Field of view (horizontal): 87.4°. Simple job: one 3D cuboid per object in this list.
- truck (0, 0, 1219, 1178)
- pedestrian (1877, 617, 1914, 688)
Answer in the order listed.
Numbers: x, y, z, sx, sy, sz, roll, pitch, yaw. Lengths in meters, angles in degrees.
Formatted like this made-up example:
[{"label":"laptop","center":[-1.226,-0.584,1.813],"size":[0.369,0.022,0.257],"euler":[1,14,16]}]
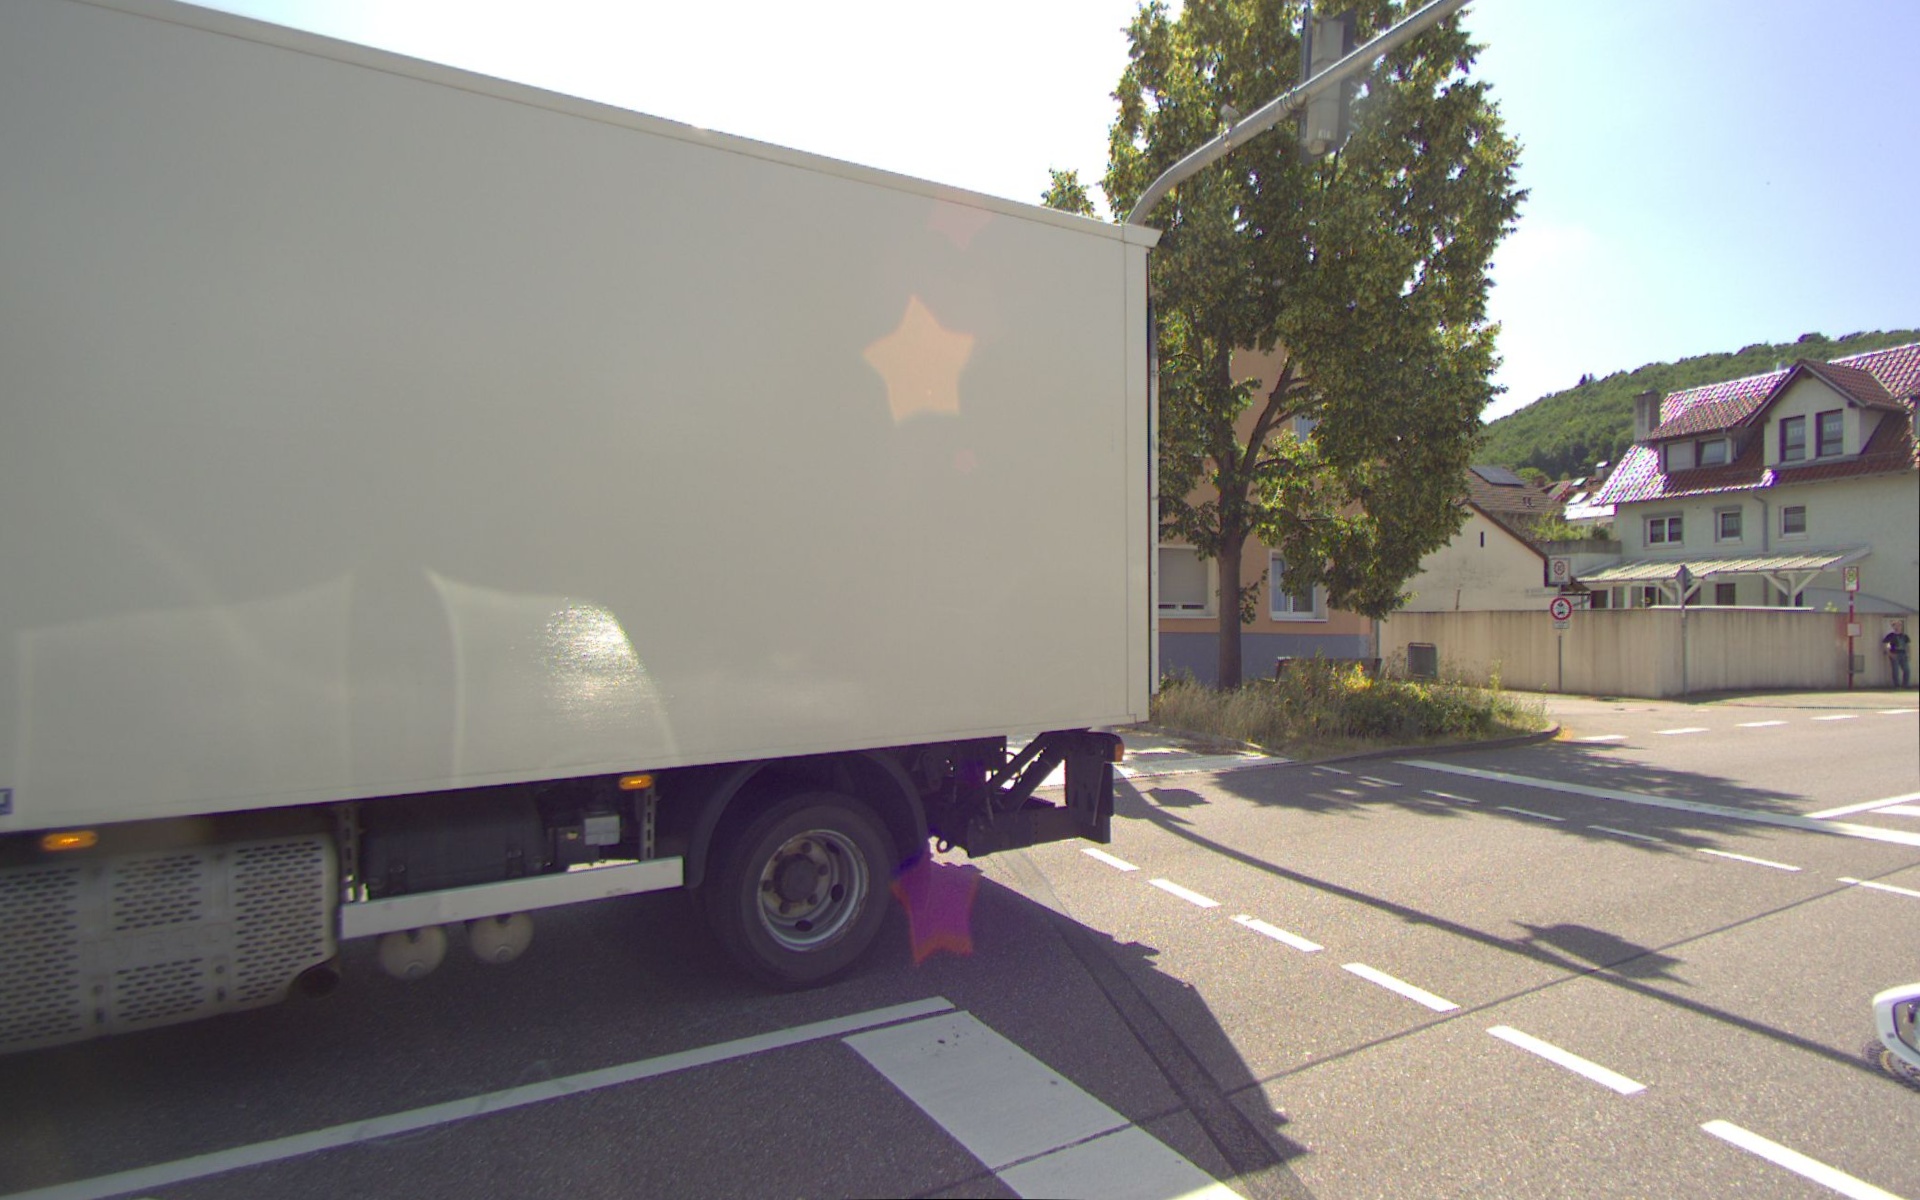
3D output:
[{"label":"truck","center":[-2.001,-0.191,4.133],"size":[5.971,3.278,2.489],"euler":[1,-1,-31]},{"label":"pedestrian","center":[23.977,1.344,25.755],"size":[0.547,1.788,0.434],"euler":[0,-1,-9]}]
